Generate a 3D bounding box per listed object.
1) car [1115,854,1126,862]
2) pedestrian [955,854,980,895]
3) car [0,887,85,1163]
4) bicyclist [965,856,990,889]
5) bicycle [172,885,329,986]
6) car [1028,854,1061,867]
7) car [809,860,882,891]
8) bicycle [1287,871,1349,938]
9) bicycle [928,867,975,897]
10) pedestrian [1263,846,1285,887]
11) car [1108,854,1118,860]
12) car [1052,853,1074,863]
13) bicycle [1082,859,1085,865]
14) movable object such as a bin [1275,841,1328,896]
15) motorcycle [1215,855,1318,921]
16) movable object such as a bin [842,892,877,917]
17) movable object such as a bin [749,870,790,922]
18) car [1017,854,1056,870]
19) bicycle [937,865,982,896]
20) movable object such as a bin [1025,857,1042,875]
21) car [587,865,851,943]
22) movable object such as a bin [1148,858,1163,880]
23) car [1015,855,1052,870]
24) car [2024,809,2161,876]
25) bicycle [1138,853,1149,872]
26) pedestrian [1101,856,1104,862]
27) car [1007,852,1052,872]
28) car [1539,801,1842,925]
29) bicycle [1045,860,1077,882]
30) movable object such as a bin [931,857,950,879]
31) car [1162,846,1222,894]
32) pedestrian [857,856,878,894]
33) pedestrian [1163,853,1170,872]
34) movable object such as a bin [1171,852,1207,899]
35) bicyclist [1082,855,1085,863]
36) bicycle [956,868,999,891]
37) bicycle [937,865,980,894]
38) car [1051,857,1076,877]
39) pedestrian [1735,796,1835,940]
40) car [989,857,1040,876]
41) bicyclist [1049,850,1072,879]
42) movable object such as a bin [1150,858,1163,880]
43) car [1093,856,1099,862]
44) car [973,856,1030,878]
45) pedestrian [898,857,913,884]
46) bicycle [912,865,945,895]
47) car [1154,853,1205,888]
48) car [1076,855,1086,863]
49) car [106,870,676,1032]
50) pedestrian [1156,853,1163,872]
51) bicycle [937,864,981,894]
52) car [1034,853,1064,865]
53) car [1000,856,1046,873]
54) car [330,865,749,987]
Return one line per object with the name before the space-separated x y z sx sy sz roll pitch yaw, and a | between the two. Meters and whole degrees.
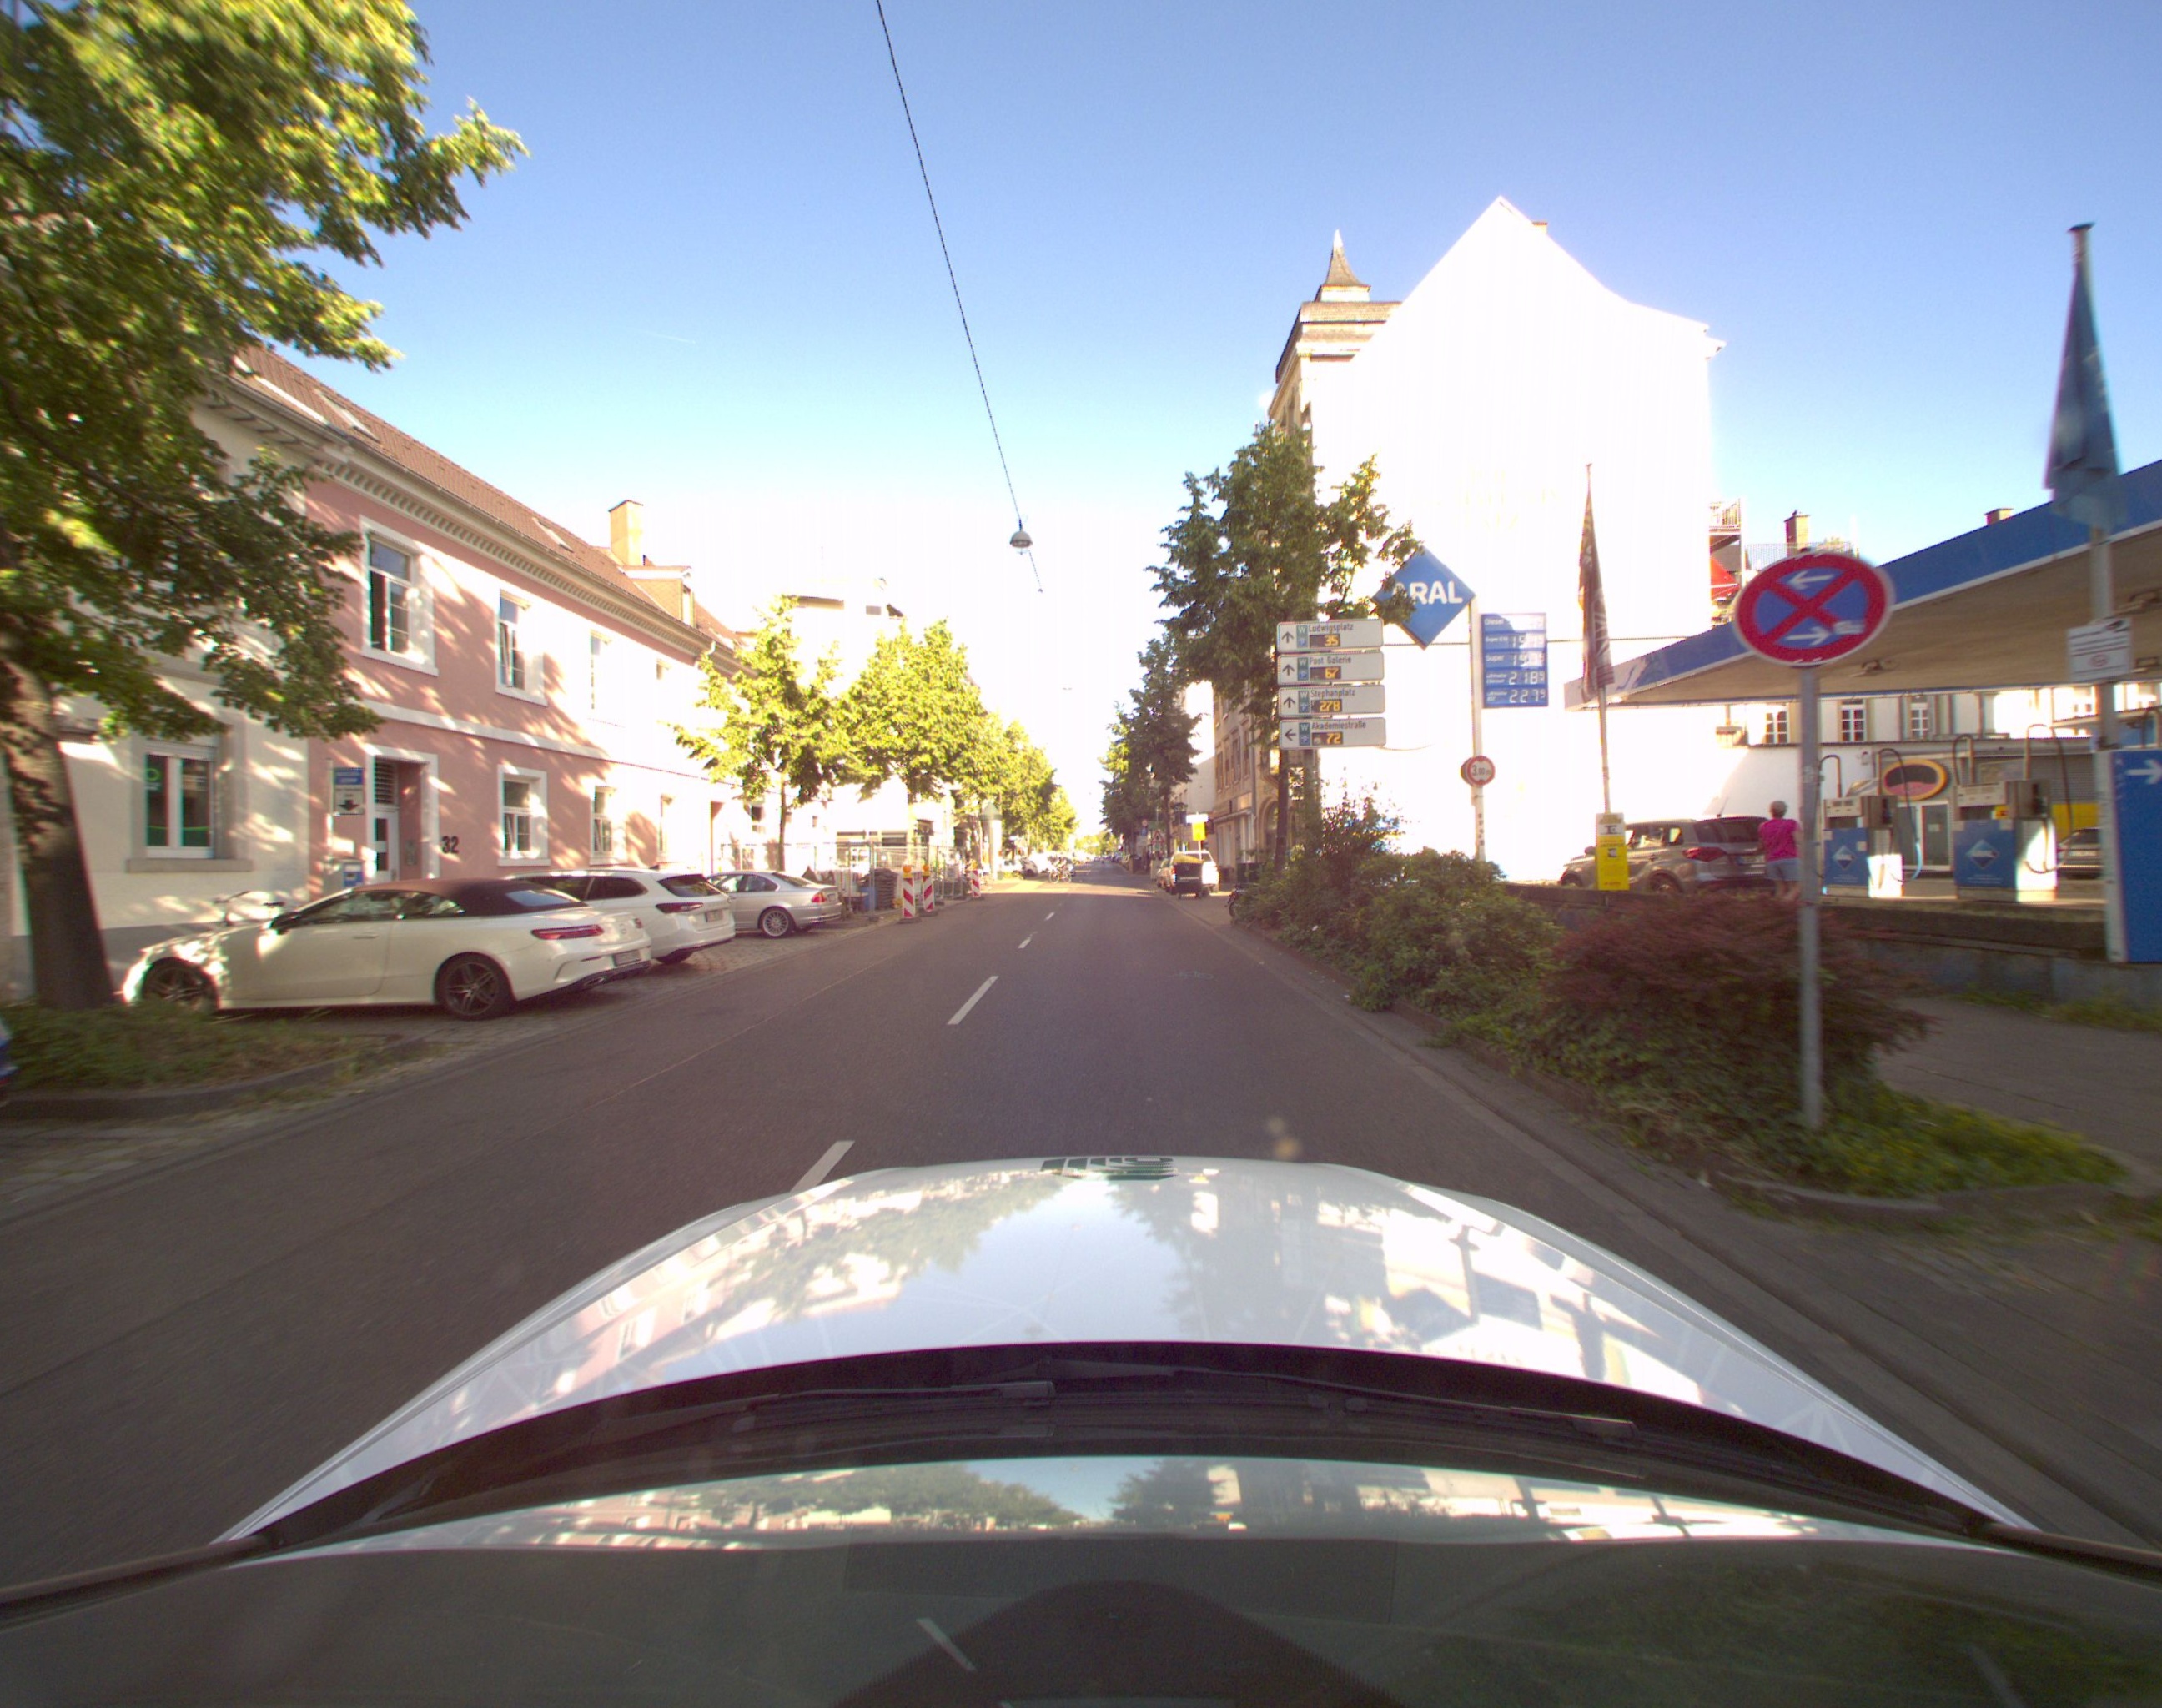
car | 8.016 0.842 165.572 1.986 1.508 4.000 -1 -1 1
pedestrian | -4.911 0.879 35.292 0.797 1.707 0.759 -1 0 -32
car | -8.161 0.973 3.907 4.661 1.463 1.809 -1 0 2
bicyclist | -5.129 0.910 40.359 1.042 1.560 0.763 -2 0 -24
bicycle | -11.727 1.108 11.579 0.502 1.245 1.628 -3 0 1
car | -4.592 0.839 102.259 3.974 1.500 2.000 -2 0 0
car | -13.850 1.241 47.873 4.001 1.610 1.987 -3 0 -20
bicycle | 4.027 0.832 13.745 0.431 0.988 1.682 -3 0 36
bicycle | -5.386 1.161 33.949 1.852 1.170 0.599 -1 0 -7
pedestrian | 7.444 0.472 31.435 0.608 1.540 0.699 -3 0 1
car | 7.268 0.695 185.326 1.986 1.508 4.000 -1 -1 1
car | -3.261 0.735 147.157 3.974 1.500 2.000 -2 0 0
bicycle | 0.454 1.487 151.674 0.558 1.180 1.628 -1 -1 1
movable object such as a bin | 6.947 0.436 25.757 1.202 1.627 1.498 -2 0 0
motorcycle | 4.093 0.724 18.031 1.978 1.330 0.908 -2 0 -11
movable object such as a bin | -6.109 1.389 22.544 0.625 0.616 1.077 -3 0 1
movable object such as a bin | -7.496 0.996 19.636 0.730 1.186 0.744 -2 0 -8
car | -4.807 0.857 88.306 3.974 1.500 2.000 -2 0 0
bicycle | -5.139 1.123 34.619 1.852 1.252 0.599 -1 0 -7
movable object such as a bin | -4.285 1.083 73.237 1.330 1.478 1.480 -2 0 1
car | -7.405 1.002 17.019 4.668 1.412 1.807 -1 0 -2
movable object such as a bin | 4.231 0.829 46.331 0.703 1.222 0.680 -2 0 -1
car | -5.266 0.962 90.479 3.974 1.500 2.000 -2 -1 0
car | 25.494 -0.317 19.229 3.970 1.464 2.002 -3 0 3
bicycle | 4.937 0.652 64.538 0.559 1.441 1.629 -8 0 1
pedestrian | 4.164 0.961 160.614 0.544 1.026 0.546 -2 0 -1
car | -5.008 0.773 79.488 3.967 1.694 2.003 -2 0 6
car | 9.685 0.126 13.477 1.893 1.648 4.296 -2 0 3
bicycle | -1.170 0.981 47.650 0.712 1.220 2.049 -2 0 38
movable object such as a bin | -10.074 0.993 58.431 1.136 1.485 1.235 -2 0 -1
car | 4.365 0.596 32.687 1.815 1.679 4.603 -4 0 2
pedestrian | -9.488 0.907 36.248 0.608 1.653 0.814 -2 0 4
pedestrian | 7.696 0.738 73.319 0.545 1.649 0.665 -2 0 1
movable object such as a bin | 3.775 0.738 28.401 1.135 1.562 1.463 -3 0 10
bicyclist | 0.434 0.976 151.696 0.558 1.548 0.728 -1 -1 1
bicycle | -5.137 1.246 40.360 1.958 1.059 0.763 -2 0 -24
bicycle | -5.455 1.119 36.279 1.852 1.252 0.599 -1 0 -7
car | -1.362 1.019 64.786 1.796 1.435 4.409 -4 0 0
pedestrian | 9.504 0.178 11.011 0.687 1.850 0.706 -3 0 -15
car | -5.404 1.014 66.576 3.974 1.390 2.000 -2 0 0
bicyclist | -1.177 0.606 47.654 0.712 1.693 1.164 -2 0 38
movable object such as a bin | 4.231 0.854 45.493 0.619 1.180 0.711 -2 0 -1
car | 4.100 1.437 223.213 1.786 1.411 4.001 -2 0 1
car | -5.898 0.958 60.794 3.974 1.390 2.000 -2 0 0
pedestrian | -10.804 1.025 50.157 0.770 1.643 0.688 -2 0 -5
bicycle | -6.673 1.133 35.567 0.603 1.252 1.772 -1 0 -41
car | 4.532 0.733 38.005 1.816 1.391 4.301 -4 0 0
car | -0.048 1.068 165.903 1.816 1.391 4.301 -4 0 0
car | -7.324 0.978 9.047 4.668 1.465 1.807 -1 0 -2
pedestrian | 7.079 0.744 73.105 0.545 1.649 0.665 -2 0 2
bicycle | -5.322 1.104 35.636 1.852 1.252 0.599 -1 0 -7
car | -4.394 0.705 113.032 3.974 1.500 2.000 -2 0 0
car | -5.434 0.967 76.694 3.967 1.457 1.871 -2 0 6
car | -7.468 0.953 11.612 4.668 1.465 1.807 -1 0 -2
